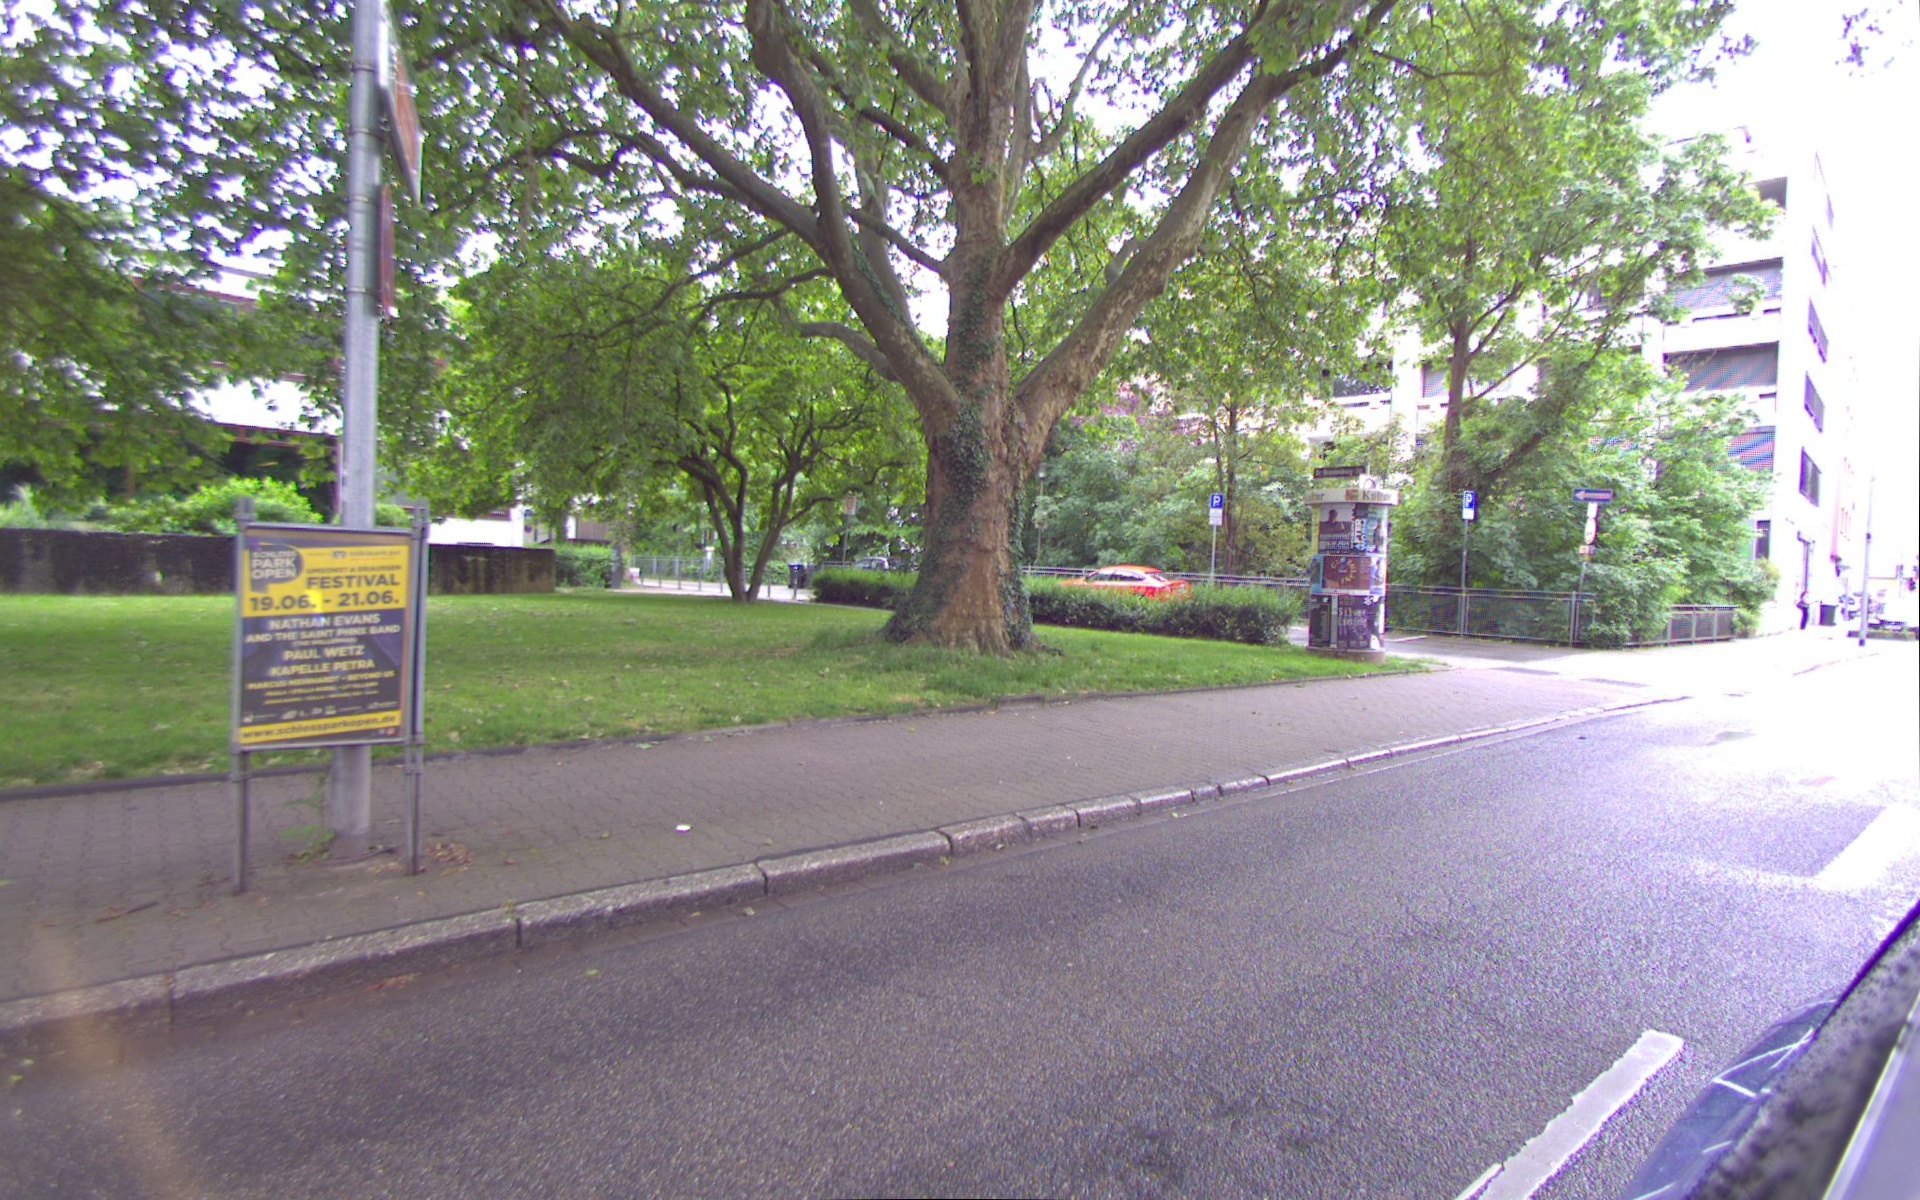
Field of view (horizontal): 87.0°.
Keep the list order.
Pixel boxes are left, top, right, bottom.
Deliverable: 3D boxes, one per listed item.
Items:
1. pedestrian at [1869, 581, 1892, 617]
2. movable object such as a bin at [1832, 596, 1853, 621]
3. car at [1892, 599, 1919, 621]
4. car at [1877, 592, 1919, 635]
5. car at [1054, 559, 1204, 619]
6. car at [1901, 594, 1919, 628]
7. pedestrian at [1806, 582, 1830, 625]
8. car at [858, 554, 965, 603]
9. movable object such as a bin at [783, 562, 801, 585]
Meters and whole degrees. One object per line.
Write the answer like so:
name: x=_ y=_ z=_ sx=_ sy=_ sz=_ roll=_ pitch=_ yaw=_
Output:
pedestrian: x=56.562 y=-0.072 z=62.196 sx=0.797 sy=2.179 sz=0.732 roll=2 pitch=1 yaw=26
movable object such as a bin: x=42.104 y=0.400 z=48.301 sx=0.505 sy=1.117 sz=0.680 roll=0 pitch=2 yaw=-42
car: x=65.428 y=0.738 z=67.625 sx=1.449 sy=1.402 sz=4.463 roll=0 pitch=2 yaw=-39
car: x=37.471 y=0.528 z=39.805 sx=3.741 sy=1.577 sz=1.705 roll=0 pitch=4 yaw=-43
car: x=4.911 y=-0.383 z=29.742 sx=3.989 sy=1.499 sz=1.847 roll=5 pitch=5 yaw=44
car: x=42.608 y=0.512 z=44.185 sx=4.493 sy=1.437 sz=1.834 roll=0 pitch=3 yaw=-43
pedestrian: x=34.795 y=0.127 z=41.030 sx=0.598 sy=1.679 sz=0.681 roll=7 pitch=4 yaw=42
car: x=-1.818 y=-0.819 z=37.089 sx=1.707 sy=1.590 sz=3.925 roll=0 pitch=3 yaw=-45
movable object such as a bin: x=-7.178 y=-1.126 z=43.159 sx=0.573 sy=0.986 sz=0.512 roll=0 pitch=0 yaw=-41
